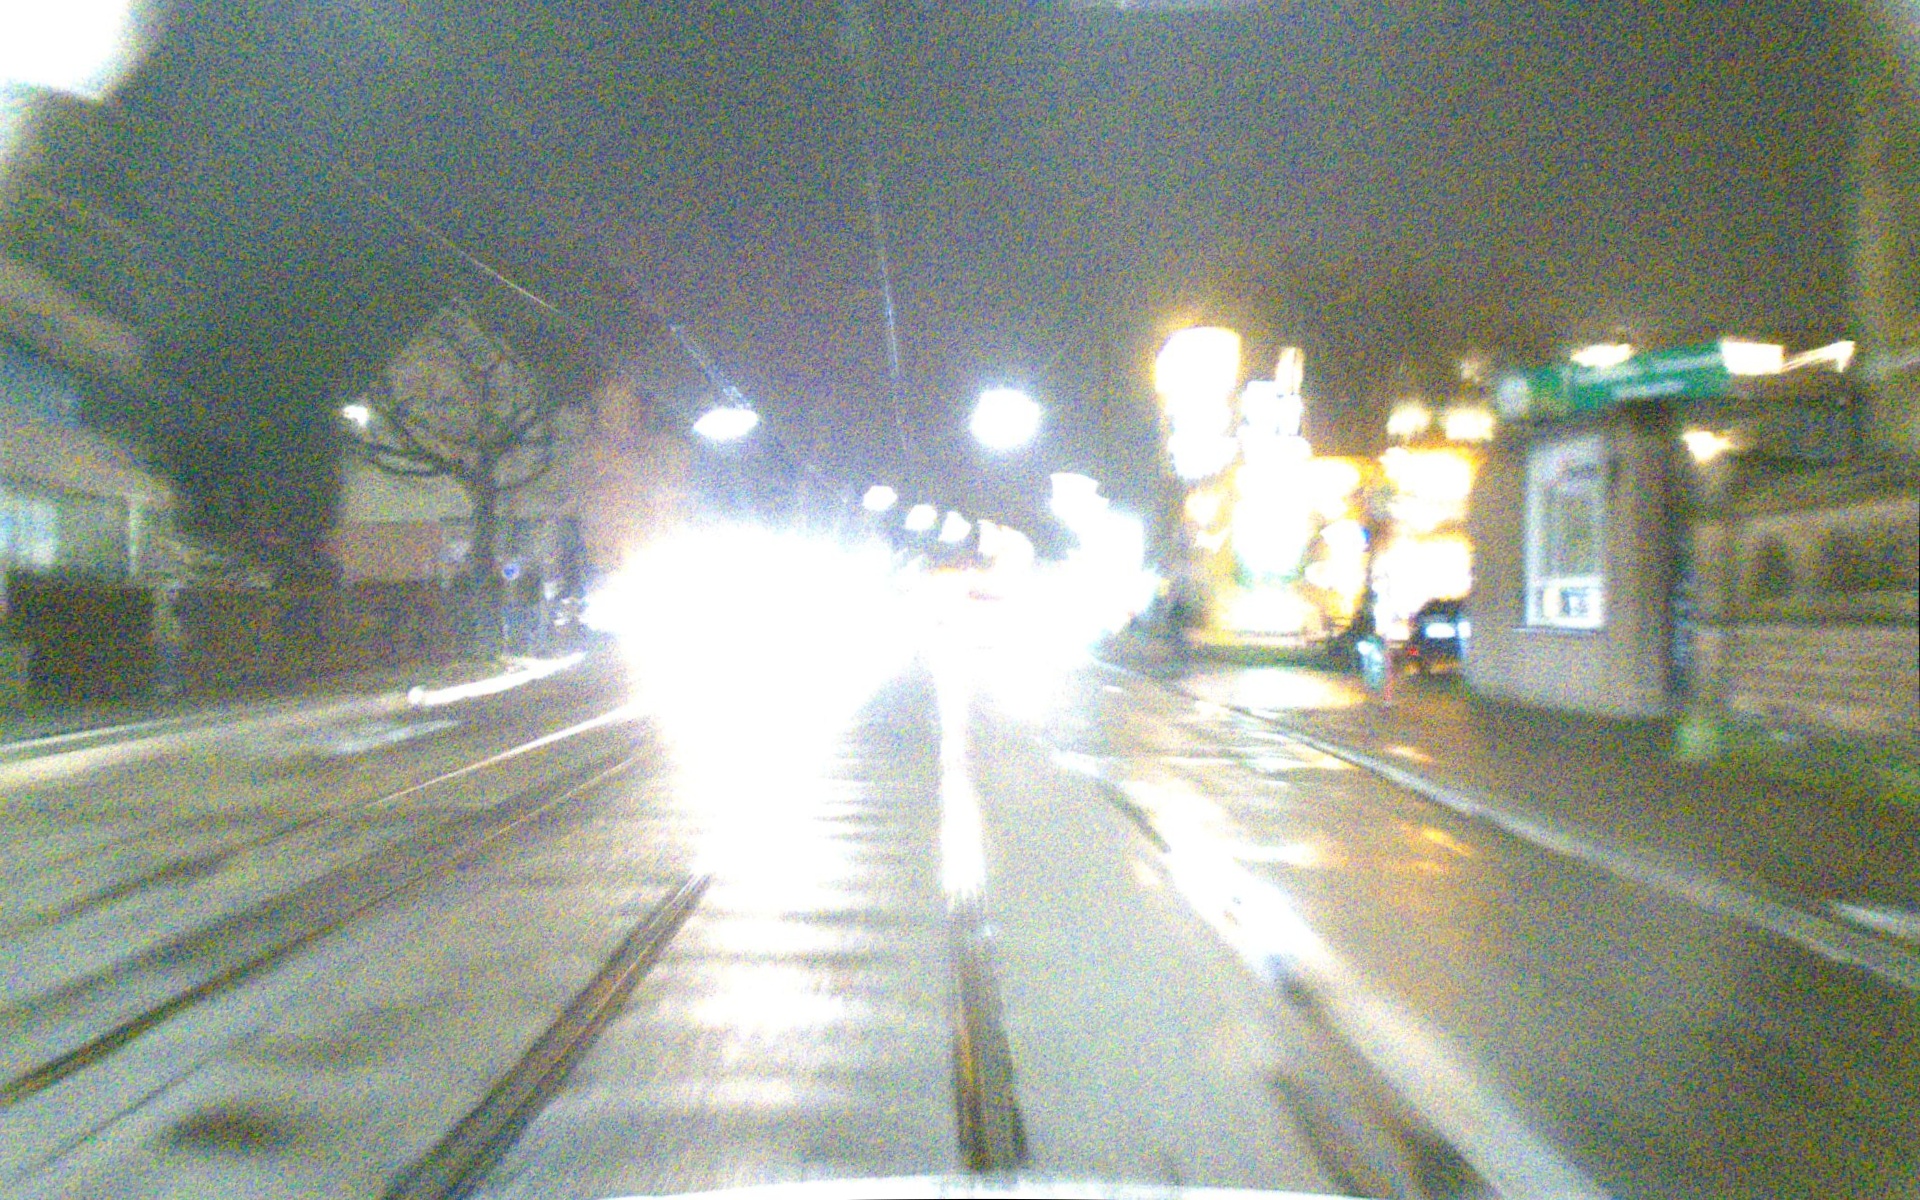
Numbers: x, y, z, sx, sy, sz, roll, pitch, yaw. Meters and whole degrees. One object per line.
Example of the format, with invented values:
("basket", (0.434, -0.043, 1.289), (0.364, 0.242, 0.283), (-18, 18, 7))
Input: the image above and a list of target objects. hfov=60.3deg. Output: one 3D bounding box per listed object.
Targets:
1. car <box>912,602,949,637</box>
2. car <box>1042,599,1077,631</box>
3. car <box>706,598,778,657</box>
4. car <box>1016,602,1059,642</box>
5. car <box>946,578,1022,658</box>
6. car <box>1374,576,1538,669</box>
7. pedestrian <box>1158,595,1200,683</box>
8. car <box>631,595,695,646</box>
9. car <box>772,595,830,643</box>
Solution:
("car", (-1.589, 1.018, 88.285), (1.953, 1.847, 3.998), (0, 0, -2))
("car", (6.488, 0.978, 107.895), (1.953, 2.049, 3.999), (0, 0, -1))
("car", (-6.653, 0.816, 50.800), (1.954, 1.755, 4.073), (0, 0, -4))
("car", (3.682, 1.046, 79.139), (1.974, 1.847, 4.000), (0, 0, 1))
("car", (0.705, 0.557, 52.396), (2.199, 2.402, 4.392), (0, 0, -2))
("car", (9.887, 0.429, 32.759), (1.989, 1.730, 4.109), (0, -1, 34))
("pedestrian", (4.553, 0.810, 34.372), (0.761, 1.807, 0.694), (0, -1, 16))
("car", (-12.410, 0.848, 69.248), (1.953, 2.049, 4.000), (0, 0, 0))
("car", (-6.633, 0.791, 69.496), (2.274, 1.966, 4.959), (0, 0, -4))
